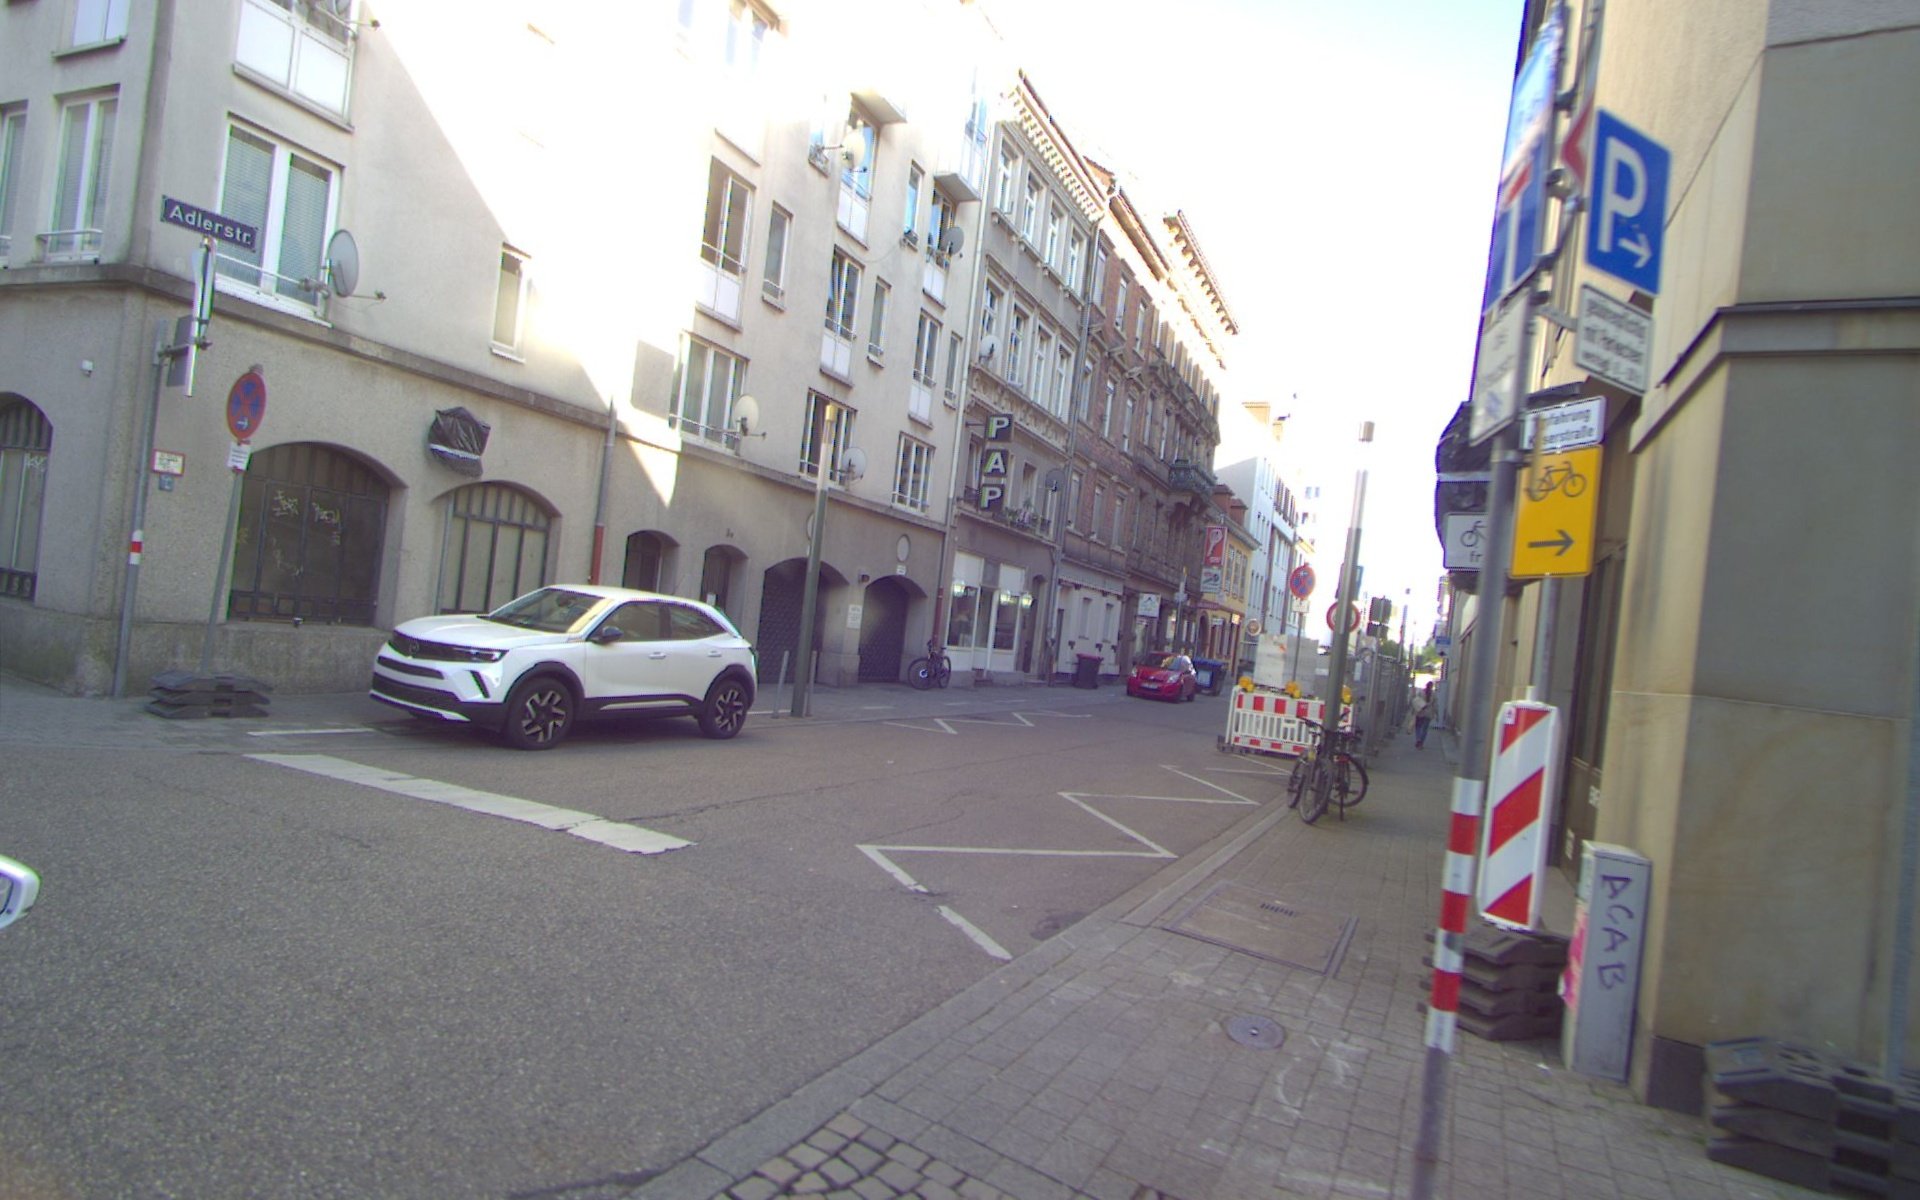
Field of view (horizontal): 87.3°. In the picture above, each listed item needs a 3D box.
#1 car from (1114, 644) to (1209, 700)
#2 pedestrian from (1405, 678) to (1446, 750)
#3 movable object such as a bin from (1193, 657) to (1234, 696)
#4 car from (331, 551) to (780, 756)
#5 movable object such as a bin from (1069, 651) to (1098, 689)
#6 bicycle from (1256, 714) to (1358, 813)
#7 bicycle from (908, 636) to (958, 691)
[{"bbox_3d":[6.564,2.355,32.489,1.884,1.495,3.800,6,-2,28],"label":"car"},{"bbox_3d":[11.107,2.713,24.023,0.709,1.605,0.638,7,0,25],"label":"pedestrian"},{"bbox_3d":[10.336,3.128,40.947,1.034,1.407,1.999,7,-1,28],"label":"movable object such as a bin"},{"bbox_3d":[-3.930,0.605,10.537,1.737,1.586,4.079,6,-2,28],"label":"car"},{"bbox_3d":[3.888,2.198,31.666,0.677,1.088,0.450,9,1,24],"label":"movable object such as a bin"},{"bbox_3d":[4.037,1.888,11.662,0.464,1.019,1.415,6,-2,44],"label":"bicycle"},{"bbox_3d":[-0.584,1.433,22.529,0.424,1.157,1.592,6,-1,21],"label":"bicycle"}]
